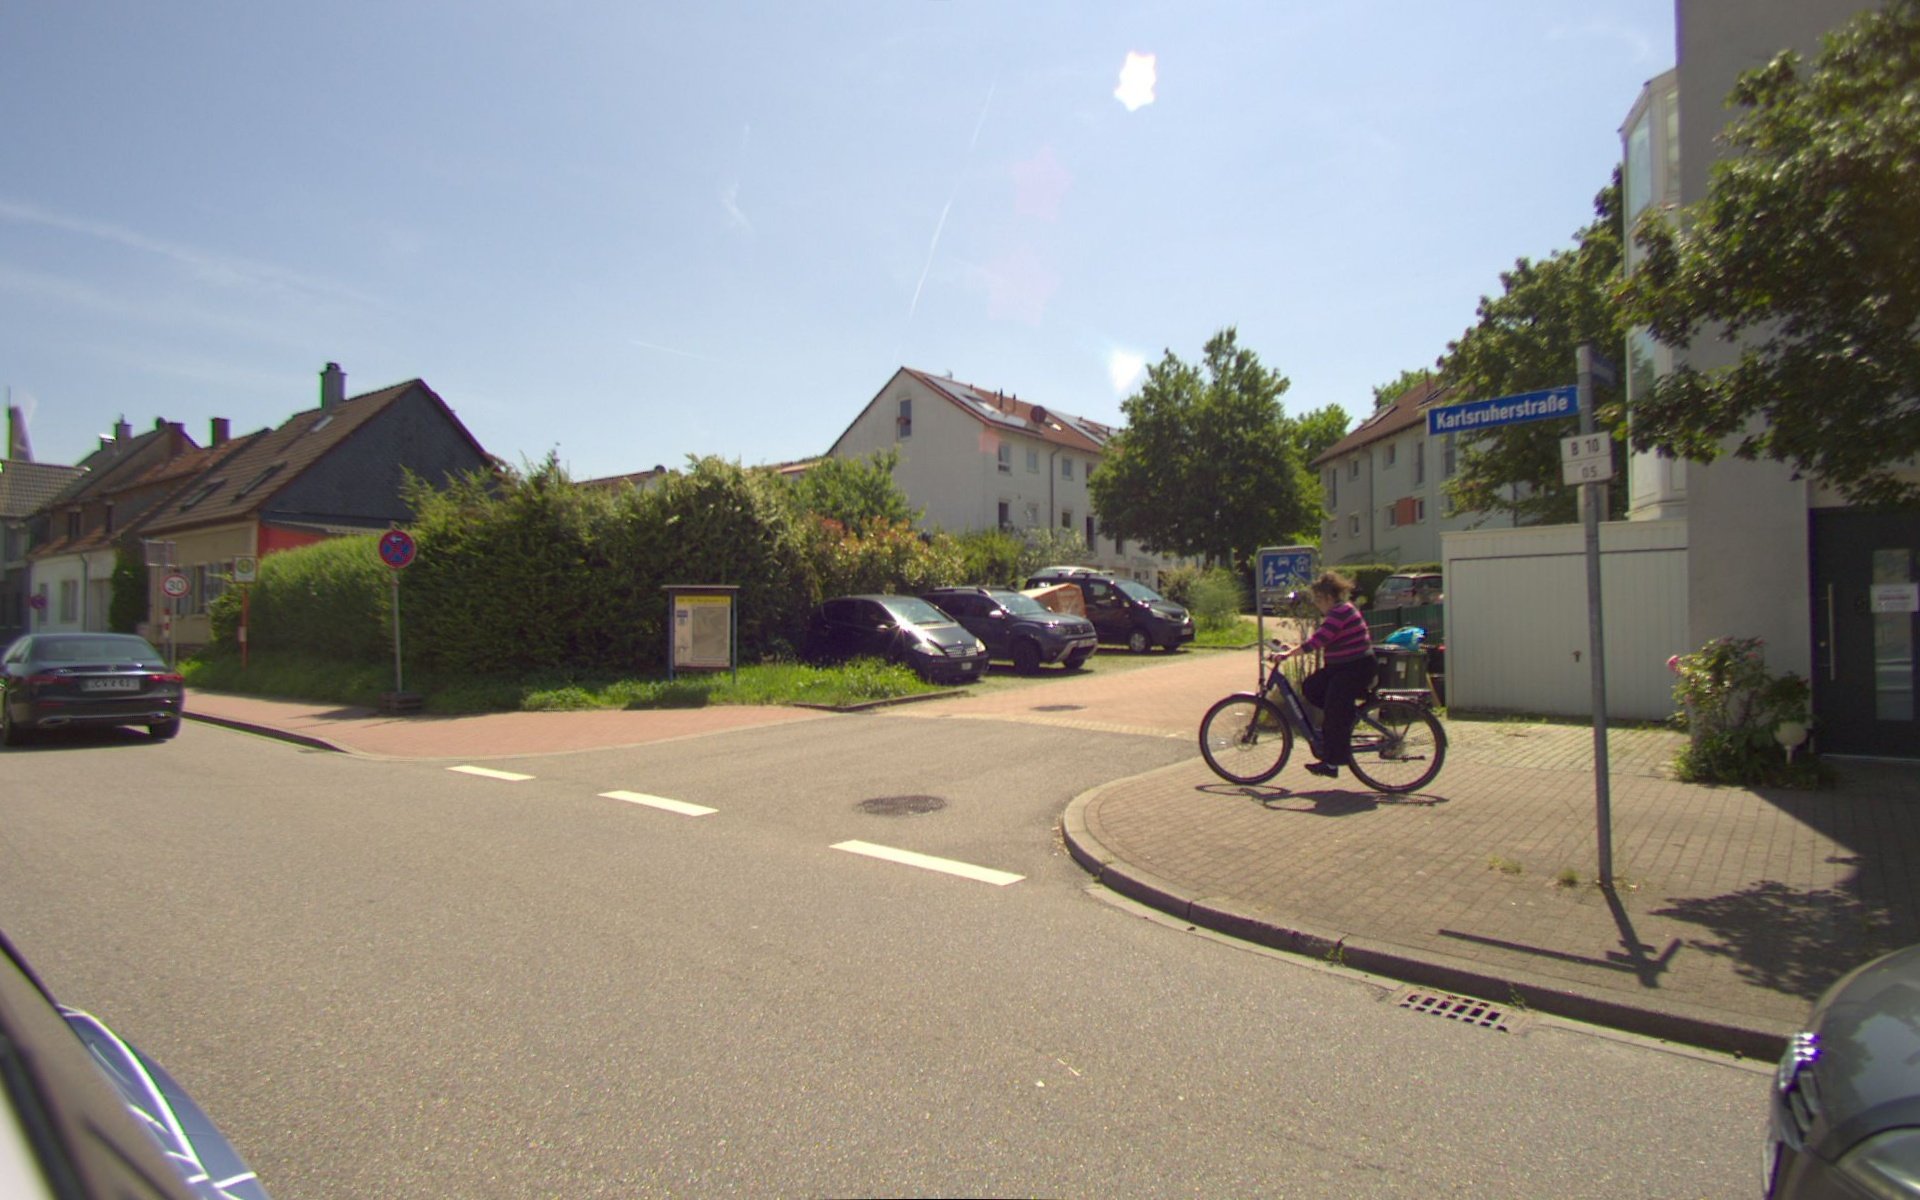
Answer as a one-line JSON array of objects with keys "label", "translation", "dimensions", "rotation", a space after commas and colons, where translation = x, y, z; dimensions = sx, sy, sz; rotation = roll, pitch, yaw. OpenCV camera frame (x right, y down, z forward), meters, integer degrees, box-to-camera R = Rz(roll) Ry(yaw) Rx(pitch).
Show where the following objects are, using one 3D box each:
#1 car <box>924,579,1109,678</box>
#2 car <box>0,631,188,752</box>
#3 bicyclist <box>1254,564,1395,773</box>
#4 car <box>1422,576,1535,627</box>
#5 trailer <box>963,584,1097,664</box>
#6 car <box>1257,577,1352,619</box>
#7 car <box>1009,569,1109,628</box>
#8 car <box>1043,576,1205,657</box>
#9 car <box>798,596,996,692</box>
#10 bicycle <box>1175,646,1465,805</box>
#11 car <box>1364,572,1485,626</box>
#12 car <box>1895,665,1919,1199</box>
[{"label": "car", "translation": [1.079, 0.545, 20.469], "dimensions": [3.511, 1.793, 1.605], "rotation": [-2, 1, 44]}, {"label": "car", "translation": [-12.738, 1.192, 14.485], "dimensions": [4.691, 1.471, 1.712], "rotation": [-2, -3, 40]}, {"label": "bicyclist", "translation": [2.807, 0.499, 7.775], "dimensions": [0.905, 1.505, 0.654], "rotation": [-2, 0, 27]}, {"label": "car", "translation": [15.933, 0.031, 31.023], "dimensions": [3.937, 1.439, 1.695], "rotation": [-2, 0, -41]}, {"label": "trailer", "translation": [1.592, 0.543, 23.304], "dimensions": [2.688, 1.676, 1.413], "rotation": [-2, 2, 37]}, {"label": "car", "translation": [12.630, -0.082, 37.063], "dimensions": [3.580, 1.463, 1.595], "rotation": [-1, -1, -38]}, {"label": "car", "translation": [3.175, -0.066, 32.032], "dimensions": [1.419, 1.747, 3.594], "rotation": [-1, 0, 38]}, {"label": "car", "translation": [3.907, 0.390, 24.466], "dimensions": [3.552, 1.794, 1.605], "rotation": [-2, 1, 44]}, {"label": "car", "translation": [-1.238, 0.773, 18.869], "dimensions": [3.653, 1.552, 1.605], "rotation": [-2, 1, 44]}, {"label": "bicycle", "translation": [2.757, 0.919, 7.813], "dimensions": [2.016, 1.064, 0.667], "rotation": [-2, 1, 27]}, {"label": "car", "translation": [15.213, -0.064, 33.094], "dimensions": [3.933, 1.635, 1.754], "rotation": [-2, 1, -33]}, {"label": "car", "translation": [3.260, 0.762, 0.604], "dimensions": [3.867, 1.381, 1.688], "rotation": [-2, -5, 41]}]
